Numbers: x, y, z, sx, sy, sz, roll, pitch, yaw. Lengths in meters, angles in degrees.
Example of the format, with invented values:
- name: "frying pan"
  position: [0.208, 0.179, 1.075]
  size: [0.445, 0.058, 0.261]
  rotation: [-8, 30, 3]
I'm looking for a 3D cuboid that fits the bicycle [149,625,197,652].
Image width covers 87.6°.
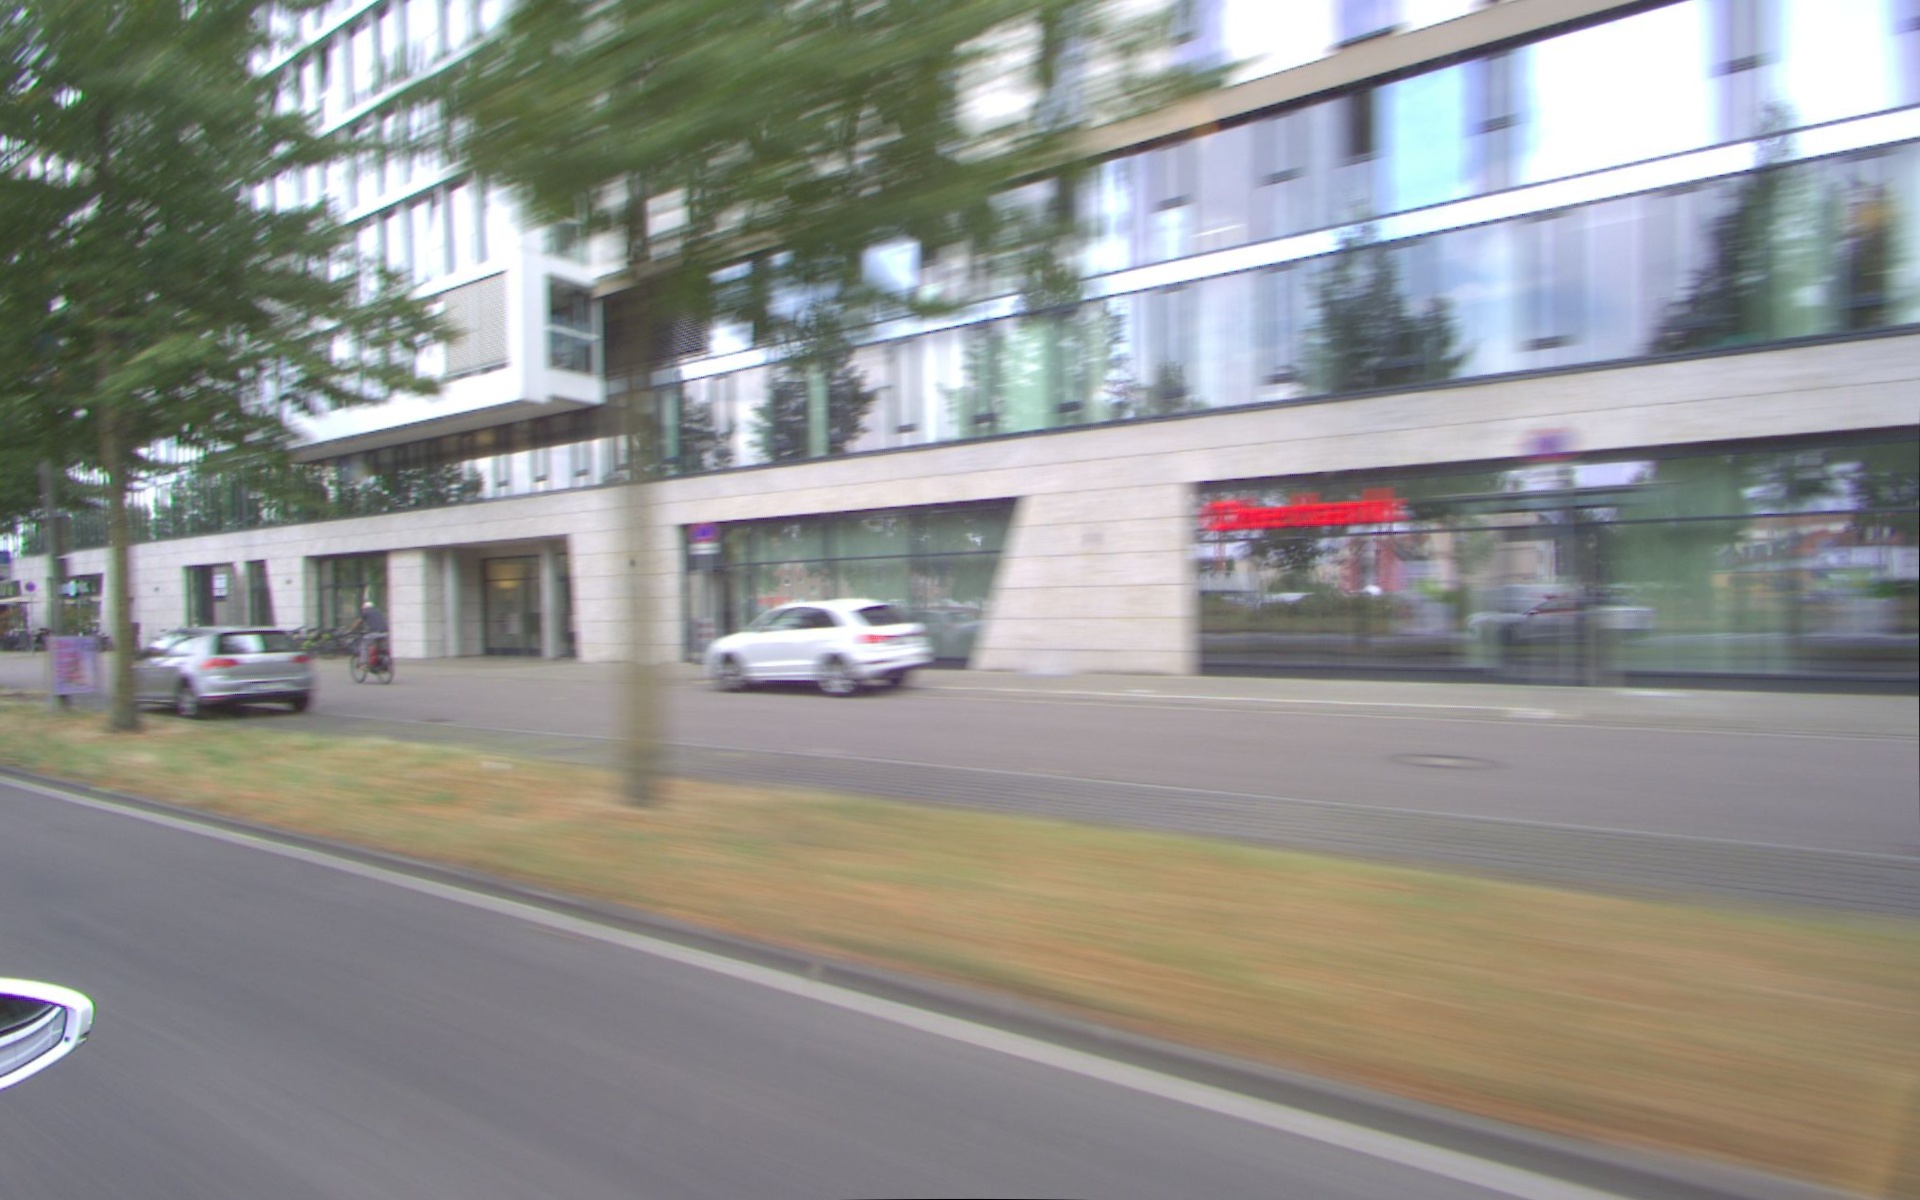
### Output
- name: "bicycle"
  position: [-33.228, 1.620, 42.301]
  size: [0.599, 1.040, 1.602]
  rotation: [-1, 0, 6]

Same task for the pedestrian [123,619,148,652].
- name: "pedestrian"
  position: [-36.358, 1.560, 44.160]
  size: [0.712, 1.425, 0.753]
  rotation: [0, 0, 40]

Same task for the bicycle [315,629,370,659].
- name: "bicycle"
  position: [-21.026, 1.481, 34.138]
  size: [0.525, 0.966, 1.527]
  rotation: [-1, 0, 30]

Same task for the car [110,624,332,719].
- name: "car"
  position: [-12.712, 1.140, 17.163]
  size: [4.124, 1.440, 1.756]
  rotation: [-1, -1, 33]

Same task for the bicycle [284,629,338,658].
- name: "bicycle"
  position: [-22.800, 1.517, 35.215]
  size: [0.525, 0.966, 1.527]
  rotation: [-1, 0, 30]

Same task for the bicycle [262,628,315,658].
- name: "bicycle"
  position: [-24.251, 1.544, 36.176]
  size: [0.525, 1.040, 1.527]
  rotation: [-1, 0, 30]

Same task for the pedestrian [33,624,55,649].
- name: "pedestrian"
  position: [-45.245, 1.782, 49.477]
  size: [0.767, 1.208, 1.096]
  rotation: [-1, 0, -42]

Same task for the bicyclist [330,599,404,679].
- name: "bicyclist"
  position: [-13.736, 0.890, 23.196]
  size: [1.113, 1.761, 0.994]
  rotation: [-1, 3, 32]

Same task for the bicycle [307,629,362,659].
- name: "bicycle"
  position: [-21.500, 1.497, 34.420]
  size: [0.525, 0.966, 1.527]
  rotation: [-1, 0, 30]

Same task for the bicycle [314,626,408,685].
- name: "bicycle"
  position: [-13.952, 1.260, 23.309]
  size: [2.236, 1.252, 0.899]
  rotation: [-1, 3, 32]

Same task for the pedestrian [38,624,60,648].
- name: "pedestrian"
  position: [-46.455, 1.829, 51.066]
  size: [0.712, 1.208, 0.754]
  rotation: [-1, 0, -35]

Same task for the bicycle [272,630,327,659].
- name: "bicycle"
  position: [-23.493, 1.580, 35.638]
  size: [0.525, 0.966, 1.527]
  rotation: [-1, 0, 30]

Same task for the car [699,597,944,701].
- name: "car"
  position: [-2.553, 0.825, 18.157]
  size: [4.181, 1.610, 1.852]
  rotation: [-1, 2, 33]

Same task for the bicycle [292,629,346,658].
- name: "bicycle"
  position: [-22.307, 1.502, 34.877]
  size: [0.525, 0.966, 1.527]
  rotation: [-1, 0, 30]
